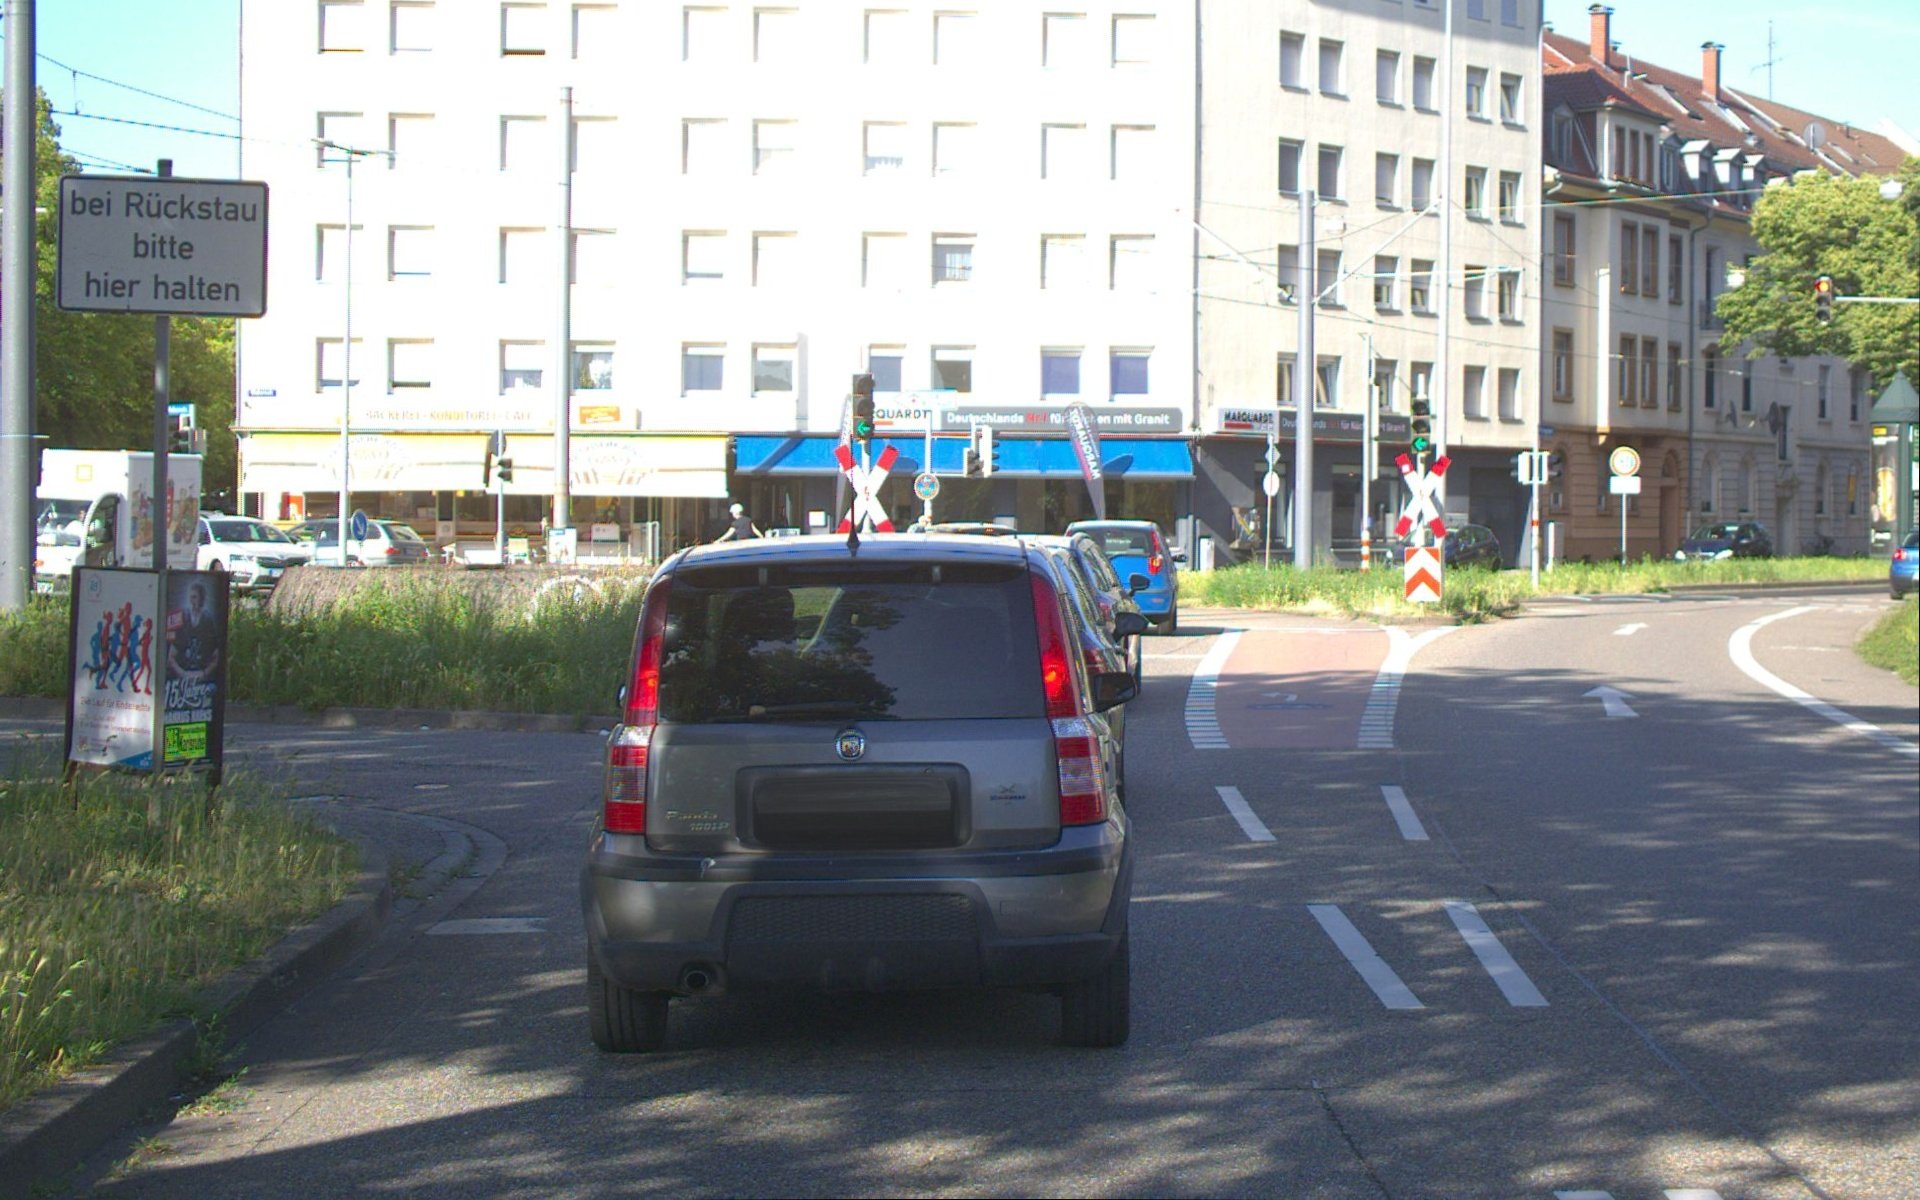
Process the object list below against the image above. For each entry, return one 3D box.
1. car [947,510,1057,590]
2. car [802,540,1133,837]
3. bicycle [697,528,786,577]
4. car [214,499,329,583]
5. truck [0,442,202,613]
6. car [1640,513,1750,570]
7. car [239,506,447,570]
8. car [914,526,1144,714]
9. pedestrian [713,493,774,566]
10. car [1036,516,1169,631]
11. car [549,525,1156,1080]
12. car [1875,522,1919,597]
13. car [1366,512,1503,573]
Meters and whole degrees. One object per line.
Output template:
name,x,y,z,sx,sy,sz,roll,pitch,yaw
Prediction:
car,0.716,-0.823,56.342,1.690,1.249,3.626,1,1,2
car,-0.022,0.405,18.795,1.621,1.424,3.689,0,1,-2
bicycle,-4.412,-0.958,69.234,0.783,0.948,1.855,1,1,-42
car,-12.356,-1.074,61.888,1.662,1.443,4.403,1,1,-6
truck,-12.919,-1.084,50.949,1.789,2.418,4.108,1,1,11
car,21.018,-1.679,98.257,1.794,1.560,3.759,2,2,34
car,-12.911,-1.305,71.884,3.995,1.238,1.996,2,2,34
car,0.667,0.111,29.779,1.760,1.481,4.293,1,1,4
pedestrian,-4.352,-1.422,69.181,0.774,1.423,0.938,1,1,-42
car,1.878,-0.376,44.875,1.646,1.433,3.396,1,1,3
car,-0.300,0.523,11.096,1.660,1.505,3.252,1,1,0
car,19.741,-0.827,68.831,1.778,1.437,3.612,2,2,31
car,11.372,-1.379,82.227,1.794,1.391,3.718,2,2,34
